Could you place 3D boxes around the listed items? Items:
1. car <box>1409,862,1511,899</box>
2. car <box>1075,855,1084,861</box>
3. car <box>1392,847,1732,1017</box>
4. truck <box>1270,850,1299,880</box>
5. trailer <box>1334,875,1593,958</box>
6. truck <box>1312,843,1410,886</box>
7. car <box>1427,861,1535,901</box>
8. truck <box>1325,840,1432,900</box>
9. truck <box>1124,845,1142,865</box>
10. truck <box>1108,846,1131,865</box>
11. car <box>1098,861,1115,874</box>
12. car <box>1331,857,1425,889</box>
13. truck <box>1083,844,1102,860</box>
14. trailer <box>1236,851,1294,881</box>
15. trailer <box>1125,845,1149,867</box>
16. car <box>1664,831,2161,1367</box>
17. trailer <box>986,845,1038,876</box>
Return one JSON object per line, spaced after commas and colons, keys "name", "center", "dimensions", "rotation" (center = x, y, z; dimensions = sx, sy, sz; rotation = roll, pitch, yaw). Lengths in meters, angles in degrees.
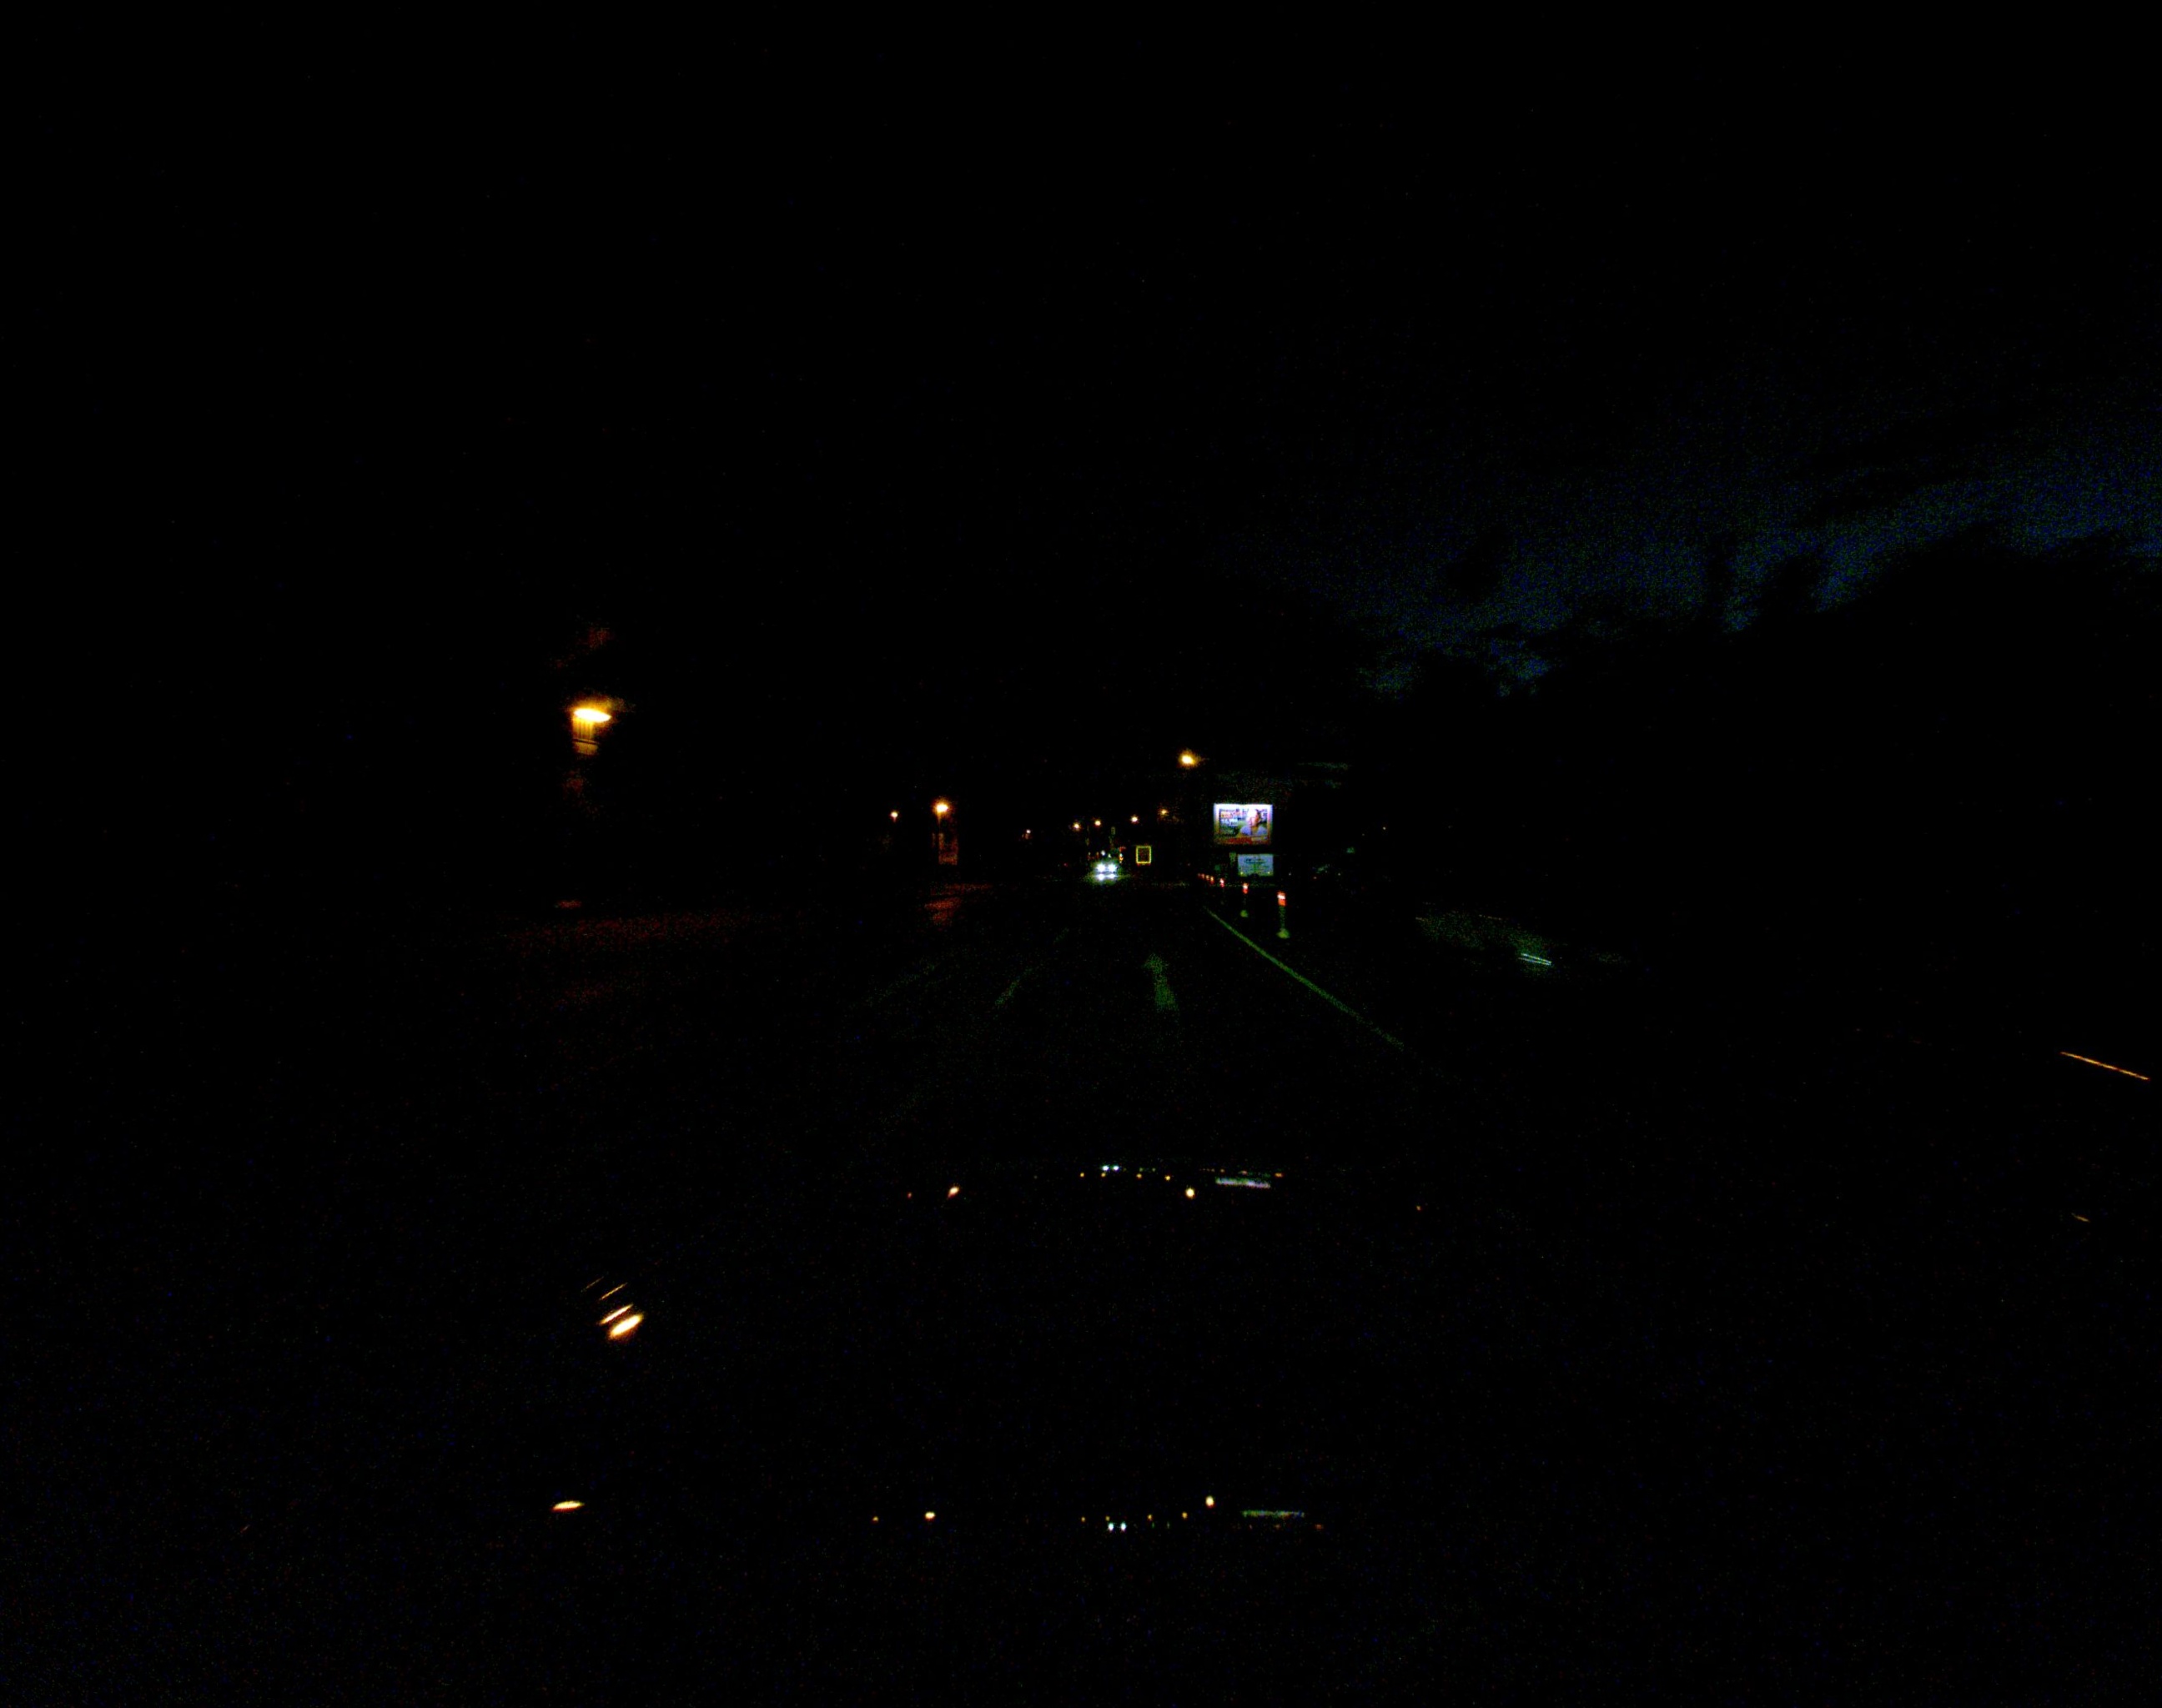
{"name": "car", "center": [17.181, 1.194, 37.092], "dimensions": [3.835, 1.561, 1.905], "rotation": [1, -1, 6]}
{"name": "car", "center": [-0.355, 1.036, 219.053], "dimensions": [1.853, 1.519, 3.804], "rotation": [-1, 0, -10]}
{"name": "car", "center": [5.291, 0.734, 9.685], "dimensions": [1.925, 1.552, 4.005], "rotation": [1, 0, 5]}
{"name": "truck", "center": [20.013, 1.083, 80.372], "dimensions": [2.170, 2.748, 7.334], "rotation": [1, 0, 9]}
{"name": "trailer", "center": [7.514, 1.107, 17.641], "dimensions": [2.162, 0.967, 9.634], "rotation": [2, 0, 7]}
{"name": "truck", "center": [17.880, 0.676, 52.199], "dimensions": [5.505, 2.600, 2.475], "rotation": [1, -1, 4]}
{"name": "car", "center": [17.093, 1.139, 34.916], "dimensions": [3.839, 1.605, 1.710], "rotation": [1, -1, 3]}
{"name": "truck", "center": [12.612, 0.659, 35.223], "dimensions": [2.366, 2.284, 7.753], "rotation": [1, 0, 4]}
{"name": "truck", "center": [10.153, 0.196, 160.095], "dimensions": [2.824, 3.983, 6.043], "rotation": [-1, 0, -3]}
{"name": "truck", "center": [8.041, 0.313, 170.880], "dimensions": [2.828, 3.983, 10.313], "rotation": [-1, 0, -8]}
{"name": "car", "center": [3.415, 1.733, 107.711], "dimensions": [1.984, 1.627, 4.758], "rotation": [1, -1, 5]}
{"name": "car", "center": [18.002, 1.161, 49.580], "dimensions": [5.045, 1.836, 1.993], "rotation": [1, -1, 8]}
{"name": "truck", "center": [2.765, -0.467, 203.986], "dimensions": [3.517, 3.983, 10.317], "rotation": [-1, 0, -7]}
{"name": "trailer", "center": [12.906, 0.842, 57.166], "dimensions": [3.712, 2.013, 1.624], "rotation": [-1, 0, 26]}
{"name": "trailer", "center": [10.514, 0.377, 153.635], "dimensions": [2.802, 3.983, 13.959], "rotation": [-1, 0, -3]}
{"name": "car", "center": [4.136, 0.731, 2.282], "dimensions": [1.986, 1.552, 4.328], "rotation": [1, 0, 2]}
{"name": "trailer", "center": [-6.110, 0.560, 72.581], "dimensions": [4.328, 2.720, 2.003], "rotation": [-1, 0, 4]}
